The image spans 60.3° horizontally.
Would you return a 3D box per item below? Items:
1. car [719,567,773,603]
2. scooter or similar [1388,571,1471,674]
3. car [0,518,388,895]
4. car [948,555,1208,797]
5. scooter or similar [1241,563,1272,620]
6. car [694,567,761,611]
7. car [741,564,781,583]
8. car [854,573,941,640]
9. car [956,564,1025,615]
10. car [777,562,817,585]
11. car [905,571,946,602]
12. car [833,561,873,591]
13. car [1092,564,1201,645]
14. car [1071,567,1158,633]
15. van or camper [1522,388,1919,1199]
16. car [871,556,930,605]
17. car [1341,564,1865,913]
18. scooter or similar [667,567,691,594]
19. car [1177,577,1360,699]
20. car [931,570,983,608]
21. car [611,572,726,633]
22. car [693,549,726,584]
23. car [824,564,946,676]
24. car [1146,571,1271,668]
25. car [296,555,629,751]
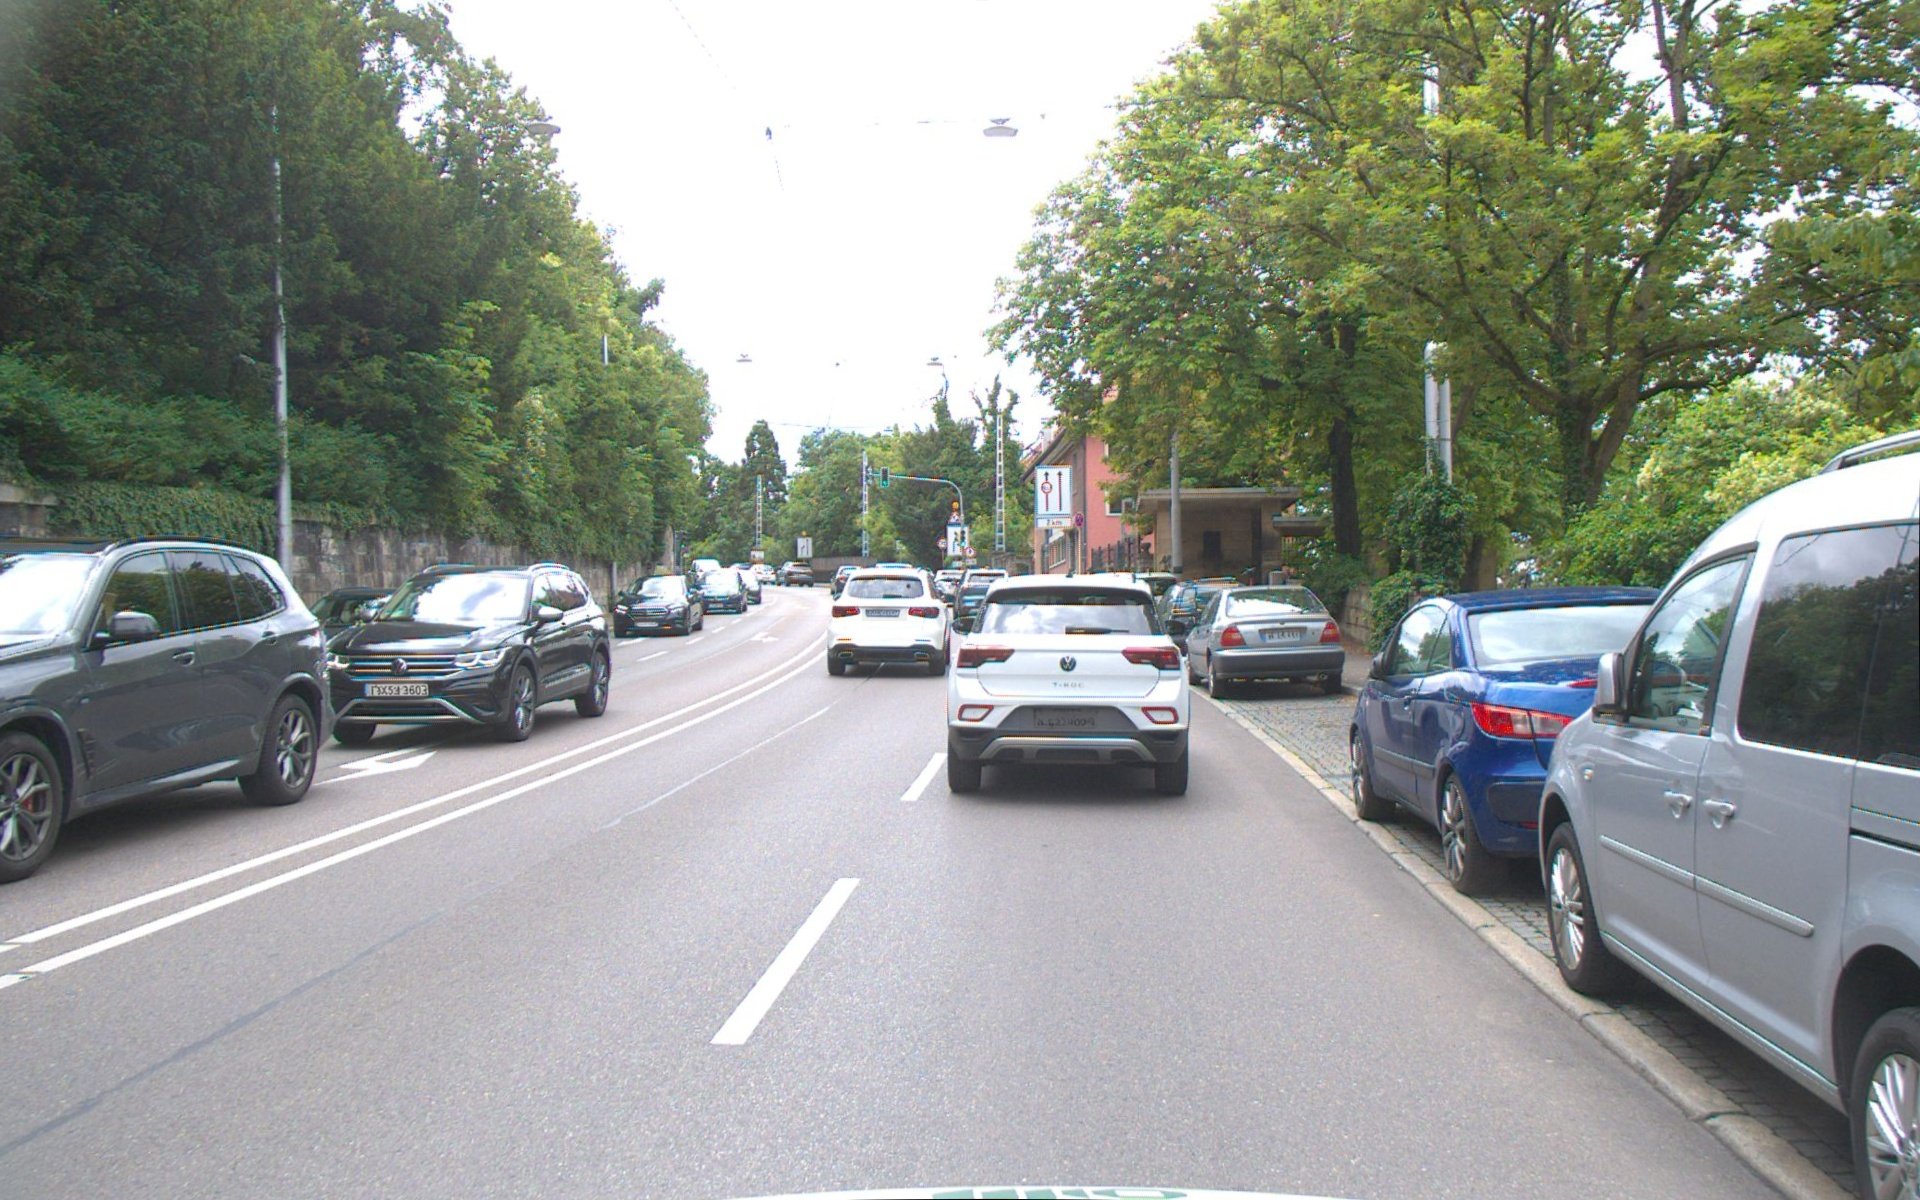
[{"bbox_3d":[-9.161,-0.667,71.016,1.805,1.433,4.455,-2,1,-2],"label":"car"},{"bbox_3d":[6.273,0.281,22.169,0.549,1.265,2.001,-5,0,4],"label":"scooter or similar"},{"bbox_3d":[-5.389,0.498,9.994,1.919,1.780,4.880,-1,1,3],"label":"car"},{"bbox_3d":[0.934,0.498,13.046,1.721,1.583,3.797,1,0,4],"label":"car"},{"bbox_3d":[6.931,-0.219,38.665,0.506,1.282,1.169,-3,1,2],"label":"scooter or similar"},{"bbox_3d":[-8.155,-0.407,58.300,1.805,1.461,4.000,-1,1,-1],"label":"car"},{"bbox_3d":[-15.371,-2.023,127.538,1.967,1.475,4.120,0,0,-23],"label":"car"},{"bbox_3d":[-1.481,0.136,40.447,1.953,1.515,4.150,-1,0,0],"label":"car"},{"bbox_3d":[0.863,-0.321,49.224,1.953,1.439,4.150,-1,0,0],"label":"car"},{"bbox_3d":[-11.448,-1.832,115.928,1.963,1.602,4.128,0,0,-19],"label":"car"},{"bbox_3d":[-1.738,-0.672,82.300,1.954,1.475,4.148,0,0,-3],"label":"car"},{"bbox_3d":[-5.461,-1.225,84.005,1.747,1.480,3.993,0,1,-8],"label":"car"},{"bbox_3d":[3.947,0.055,35.533,1.681,1.496,4.037,-4,2,-2],"label":"car"},{"bbox_3d":[3.780,-0.039,41.132,1.641,1.486,4.365,-2,1,-1],"label":"car"},{"bbox_3d":[2.946,0.480,4.546,1.663,1.877,4.245,-1,0,5],"label":"van or camper"},{"bbox_3d":[-2.056,-0.701,57.010,1.953,1.583,4.149,1,1,-2],"label":"car"},{"bbox_3d":[3.267,0.597,9.223,1.564,1.485,3.944,-2,0,4],"label":"car"},{"bbox_3d":[-13.933,-0.963,82.099,0.426,1.259,1.093,4,0,37],"label":"scooter or similar"},{"bbox_3d":[4.055,0.436,22.391,1.733,1.423,4.552,-2,1,2],"label":"car"},{"bbox_3d":[-0.143,-0.443,65.644,1.953,1.475,4.149,0,0,-2],"label":"car"},{"bbox_3d":[-7.416,0.032,42.562,1.961,1.434,4.757,-1,1,2],"label":"car"},{"bbox_3d":[-15.871,-2.142,104.681,1.859,1.879,4.387,-2,5,-11],"label":"car"},{"bbox_3d":[-1.141,0.281,26.638,1.721,1.637,3.795,1,0,0],"label":"car"},{"bbox_3d":[4.126,0.281,27.887,1.529,1.446,3.424,-3,1,0],"label":"car"},{"bbox_3d":[-4.871,0.449,16.965,1.809,1.680,4.626,-2,1,2],"label":"car"}]
